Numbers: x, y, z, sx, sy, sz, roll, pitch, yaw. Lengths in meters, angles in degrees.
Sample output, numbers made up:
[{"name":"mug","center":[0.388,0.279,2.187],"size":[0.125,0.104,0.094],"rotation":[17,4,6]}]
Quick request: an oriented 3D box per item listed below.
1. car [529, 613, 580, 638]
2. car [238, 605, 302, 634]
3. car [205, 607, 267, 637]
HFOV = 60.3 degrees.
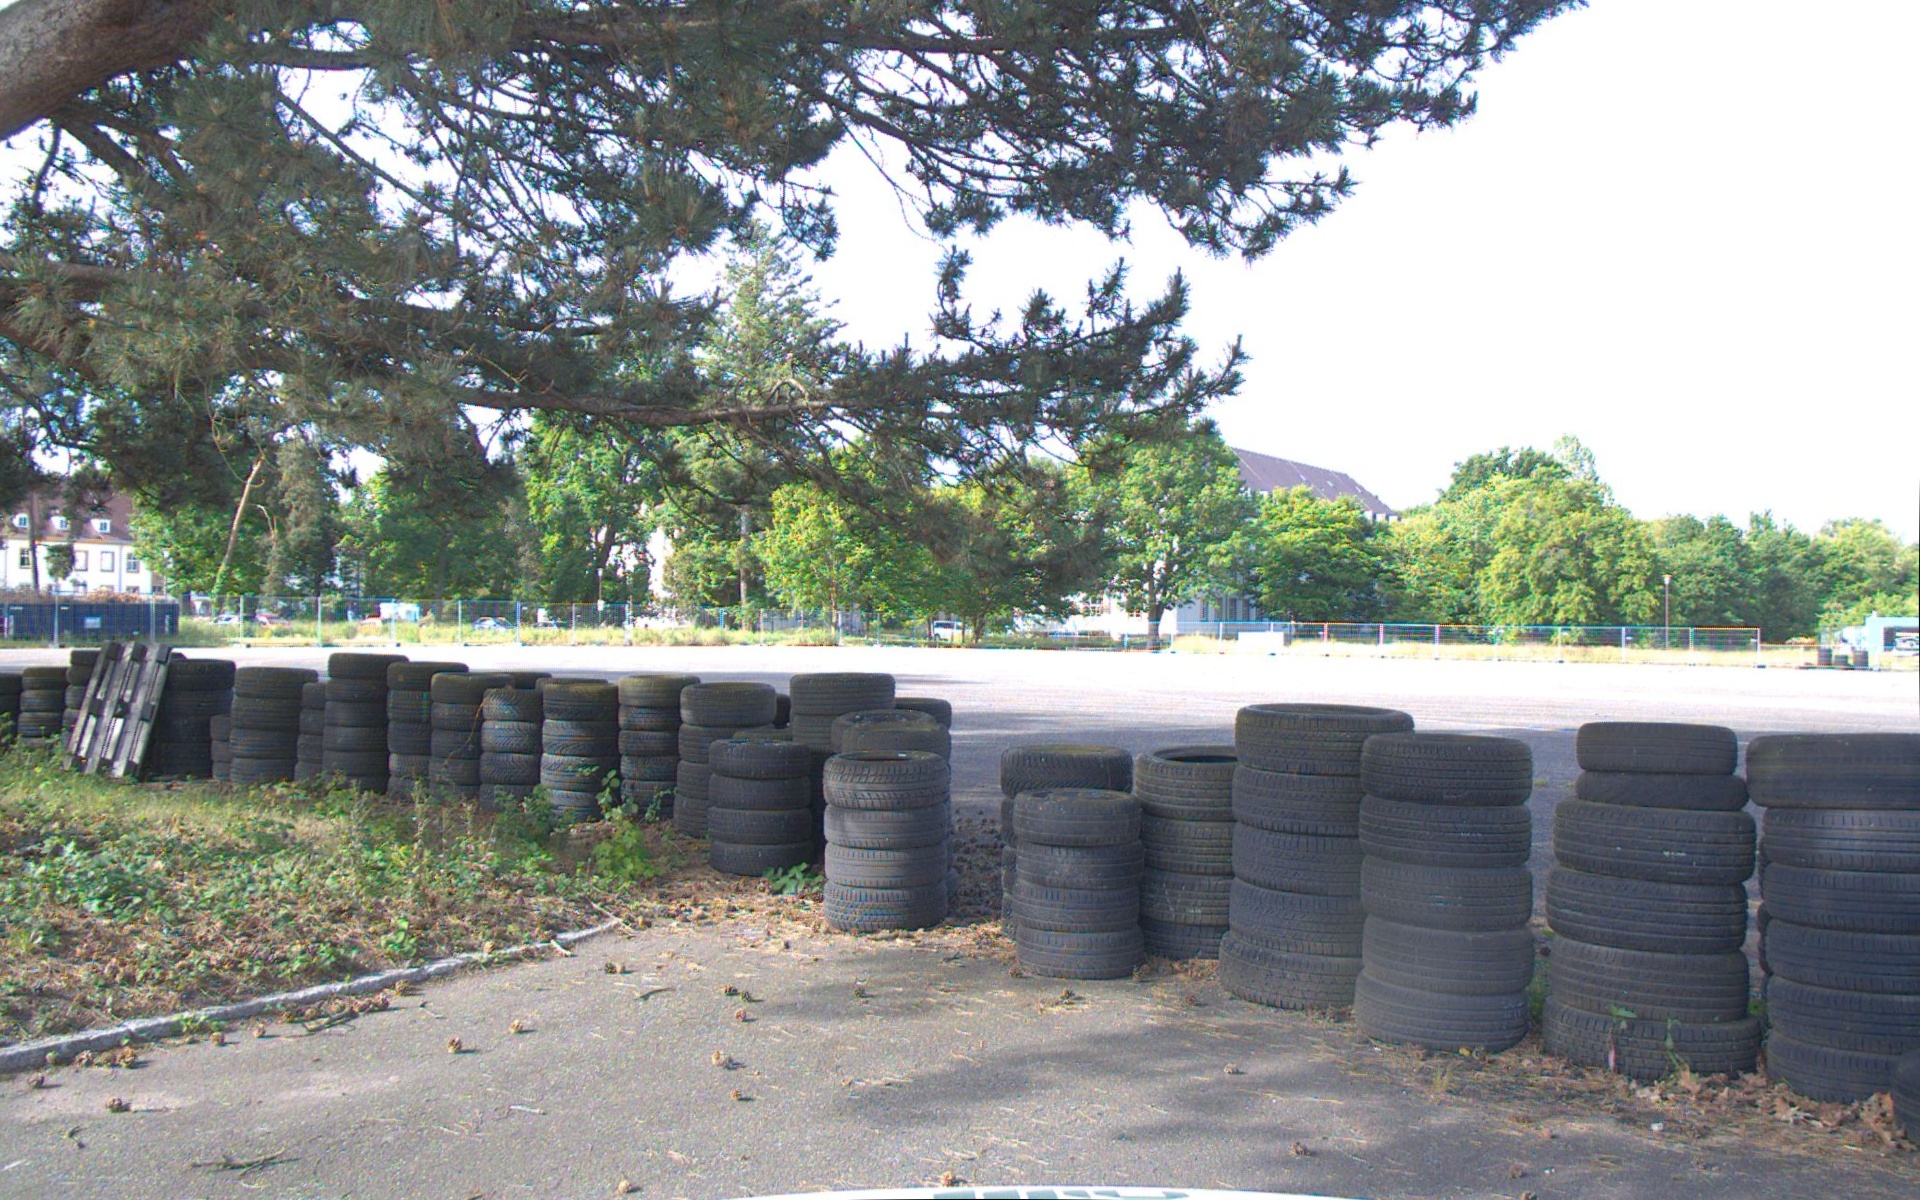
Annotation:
[{"name":"car","center":[-30.118,1.872,122.817],"size":[3.933,1.780,1.986],"rotation":[0,-1,45]},{"name":"car","center":[-43.512,1.222,104.248],"size":[3.921,1.780,1.992],"rotation":[0,-1,37]},{"name":"car","center":[-44.621,1.362,101.914],"size":[3.925,1.780,1.990],"rotation":[0,-1,40]}]
